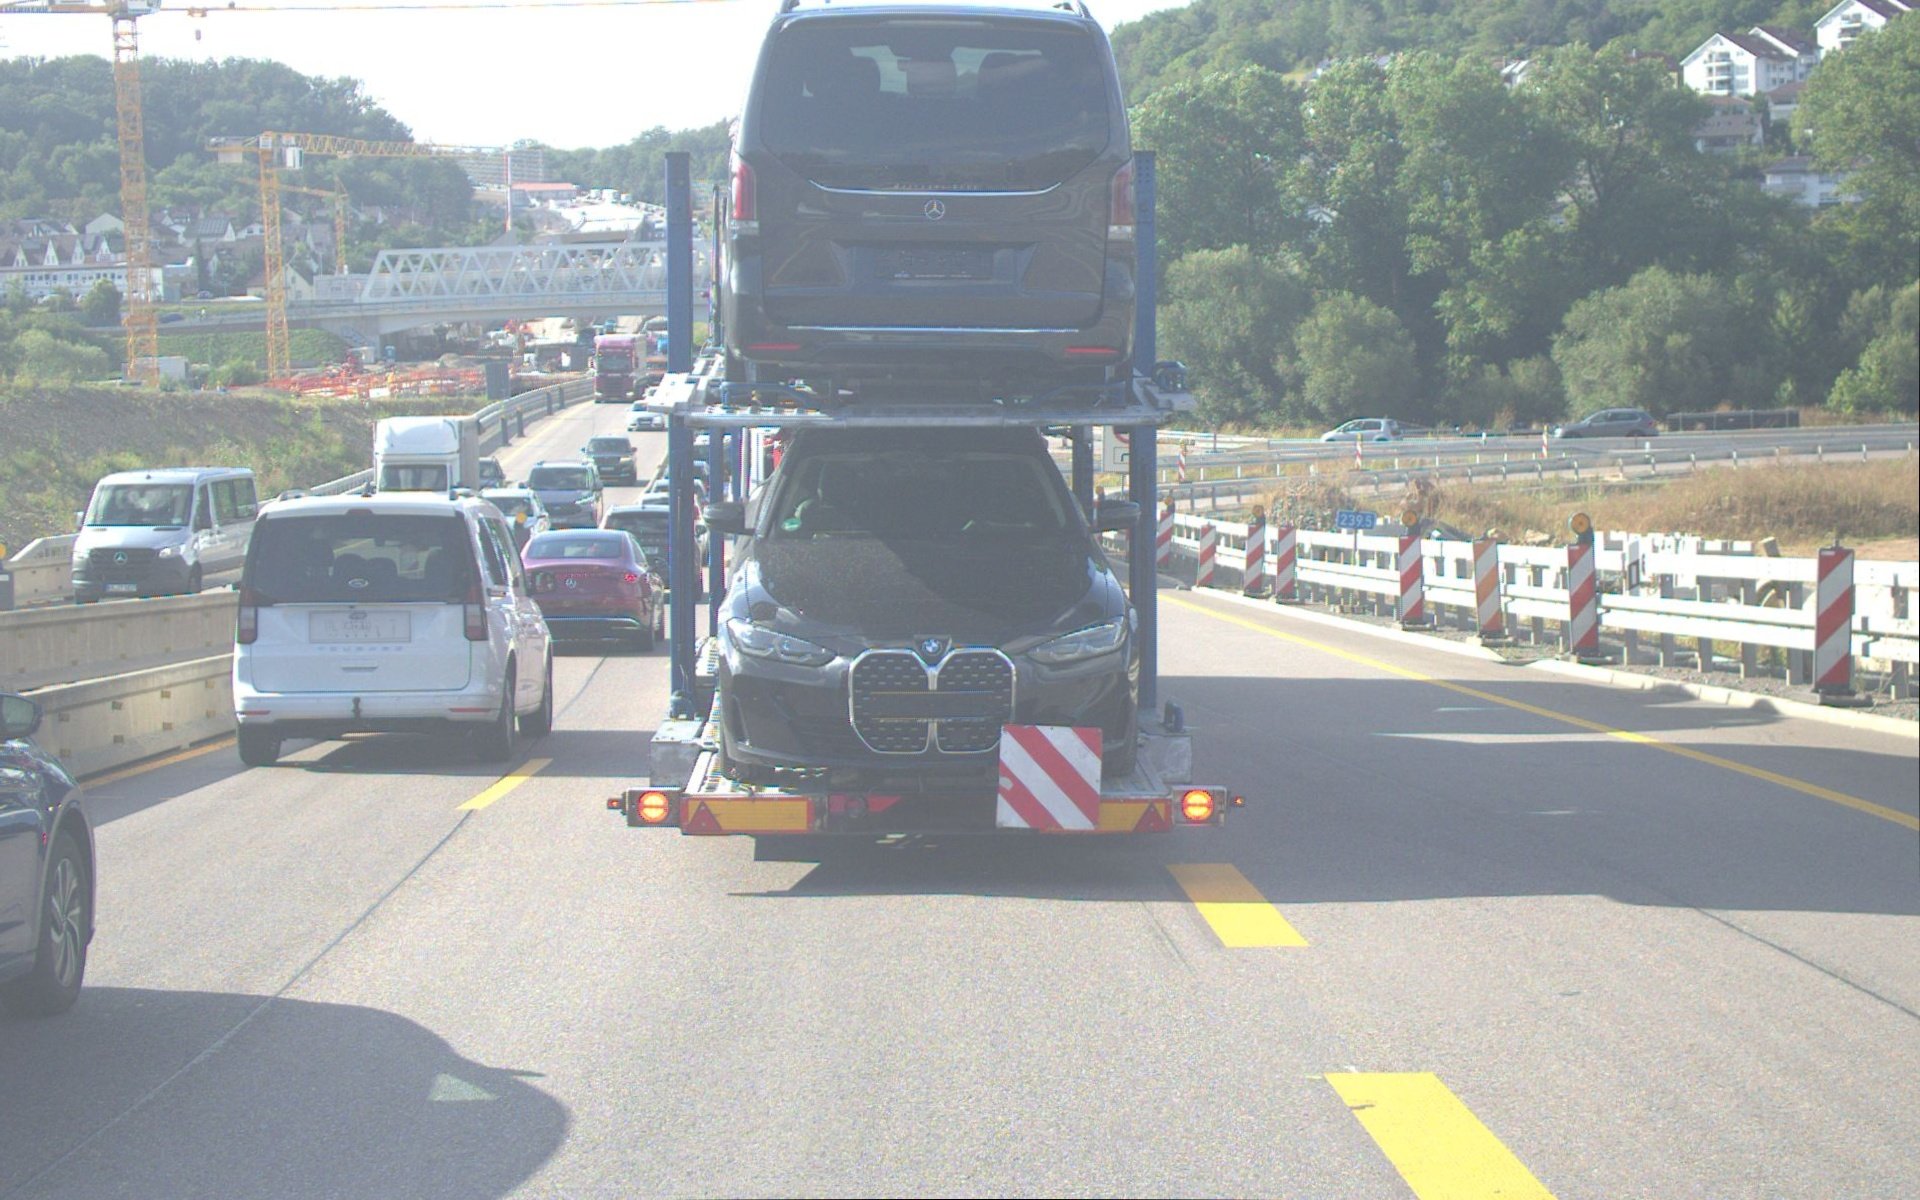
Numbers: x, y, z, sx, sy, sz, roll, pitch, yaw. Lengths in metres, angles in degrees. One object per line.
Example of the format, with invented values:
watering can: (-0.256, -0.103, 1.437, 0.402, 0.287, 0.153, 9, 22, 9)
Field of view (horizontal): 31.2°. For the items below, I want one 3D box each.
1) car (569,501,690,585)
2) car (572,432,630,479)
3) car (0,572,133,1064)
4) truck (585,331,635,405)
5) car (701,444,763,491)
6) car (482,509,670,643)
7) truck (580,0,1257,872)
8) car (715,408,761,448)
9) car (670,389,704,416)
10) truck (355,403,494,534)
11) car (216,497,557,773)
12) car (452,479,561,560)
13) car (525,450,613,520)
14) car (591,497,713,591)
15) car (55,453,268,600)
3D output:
car: (-6.270, -1.067, 65.512, 1.993, 1.547, 4.000, 0, 1, -1)
car: (-13.395, -5.392, 128.372, 1.852, 1.630, 4.749, -1, 1, -2)
car: (-3.664, 0.663, 9.694, 1.722, 1.417, 4.000, -1, 1, -1)
truck: (-21.671, -14.327, 213.109, 2.914, 4.372, 6.288, 1, 2, -5)
car: (-8.074, -4.670, 121.936, 1.993, 1.547, 4.000, 0, 1, -1)
car: (-4.647, -0.299, 42.179, 1.993, 1.551, 4.401, 0, 1, -3)
truck: (-0.403, -0.948, 23.640, 2.753, 3.941, 18.891, 1, 0, -1)
car: (-9.546, -7.364, 147.431, 1.844, 1.642, 4.506, 0, 2, -5)
car: (-15.799, -11.412, 199.045, 1.754, 1.435, 3.805, 0, 2, -1)
truck: (-14.339, -3.466, 92.563, 2.700, 3.300, 7.538, 0, 1, -1)
car: (-3.958, 0.209, 24.333, 1.823, 1.786, 4.000, 0, 1, -1)
car: (-10.188, -1.823, 77.531, 2.125, 1.668, 4.273, -3, 2, -4)
car: (-10.602, -3.111, 93.562, 2.125, 1.759, 5.032, -3, 2, -4)
car: (-5.265, -0.941, 58.556, 1.993, 1.547, 4.001, 0, 1, -6)
car: (-13.714, -1.236, 59.416, 2.258, 2.394, 5.867, 0, 1, 1)
